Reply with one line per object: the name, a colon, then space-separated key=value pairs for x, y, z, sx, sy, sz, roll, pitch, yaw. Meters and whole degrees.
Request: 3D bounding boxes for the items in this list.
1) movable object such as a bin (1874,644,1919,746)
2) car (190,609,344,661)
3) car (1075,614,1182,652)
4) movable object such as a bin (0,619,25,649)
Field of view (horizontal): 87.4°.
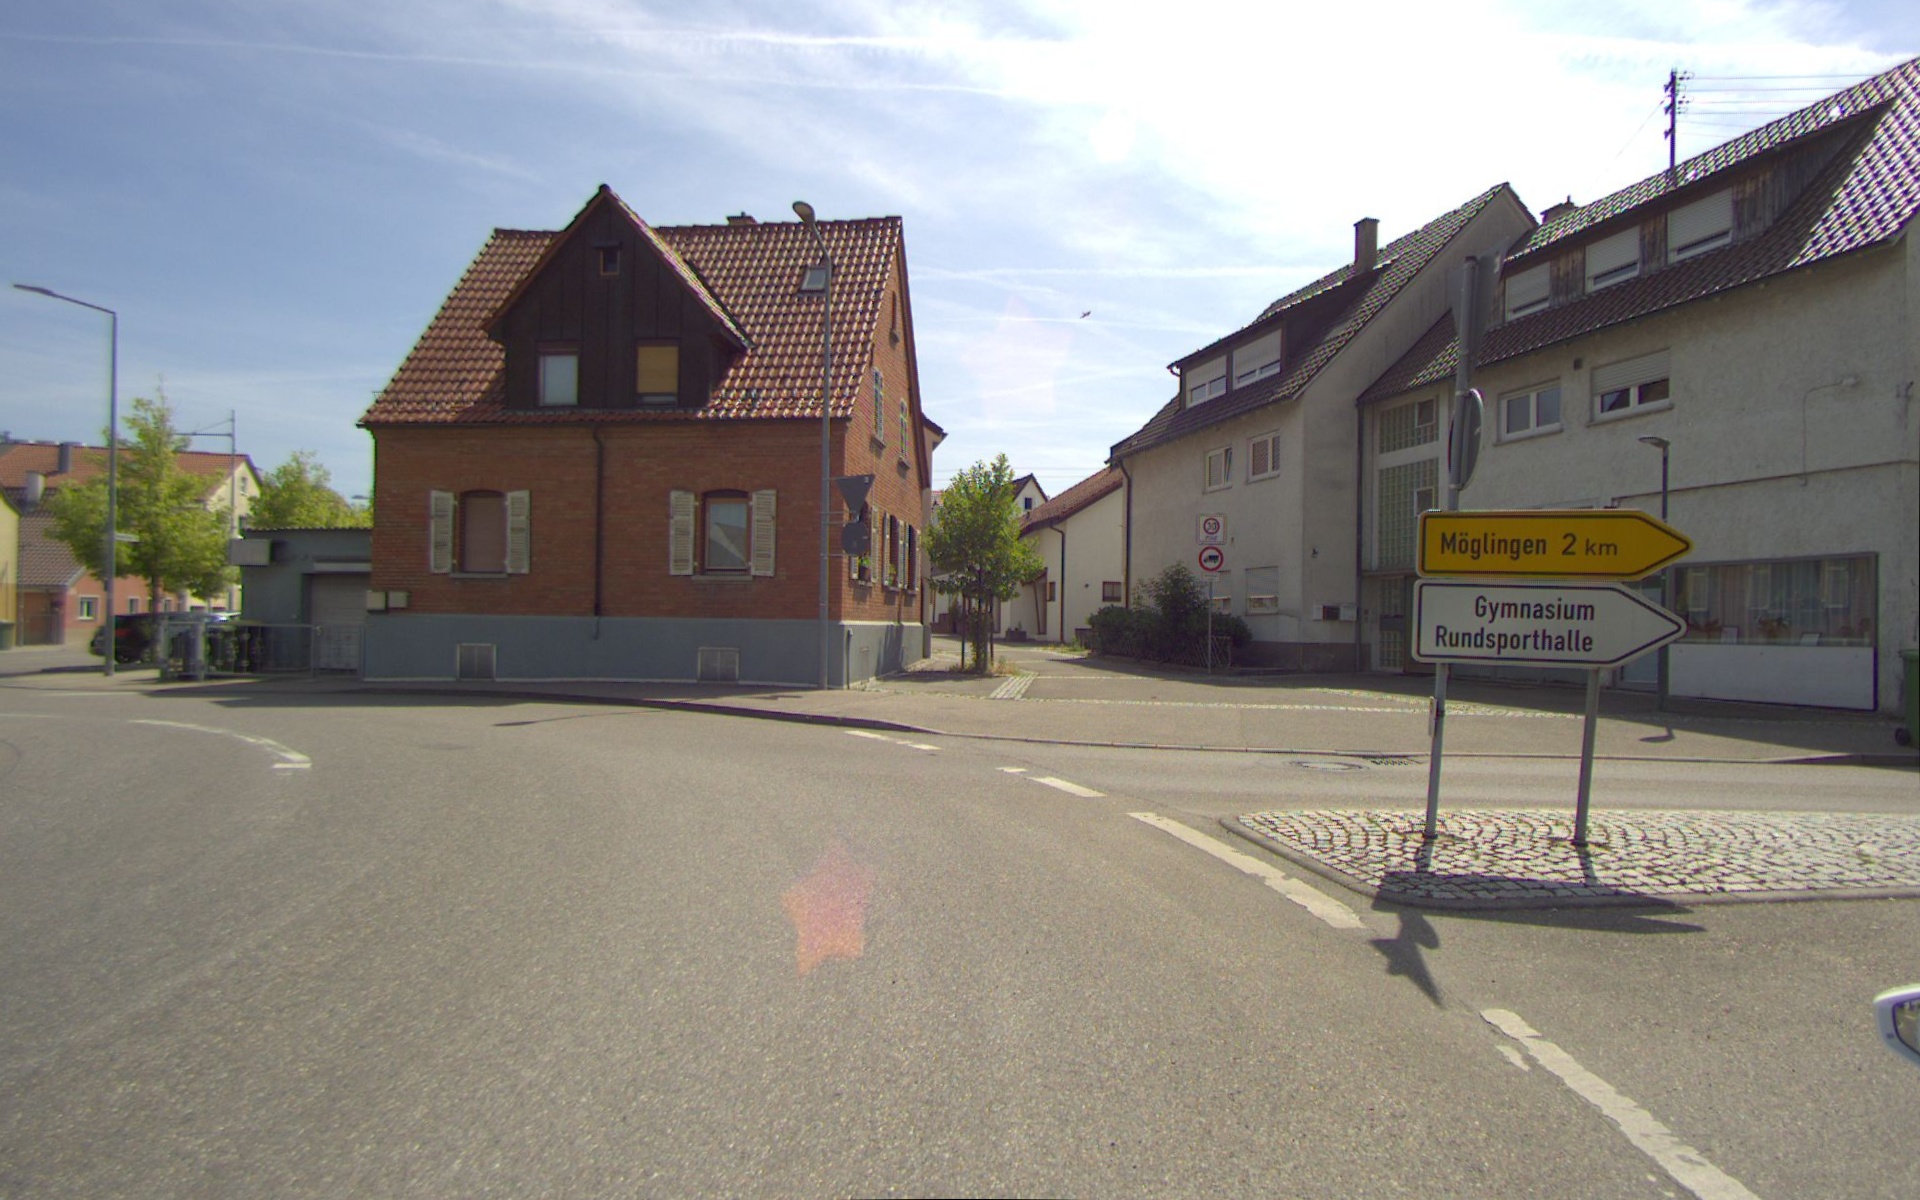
movable object such as a bin: x=10.682 y=1.026 z=10.935 sx=0.810 sy=1.059 sz=0.811 roll=0 pitch=0 yaw=19
car: x=-23.477 y=1.169 z=34.136 sx=1.789 sy=1.639 sz=3.983 roll=0 pitch=-1 yaw=38
car: x=5.766 y=1.108 z=34.491 sx=3.350 sy=1.268 sz=1.489 roll=0 pitch=0 yaw=-14
movable object such as a bin: x=-34.813 y=1.233 z=36.762 sx=0.688 sy=1.066 sz=0.583 roll=0 pitch=0 yaw=-20
